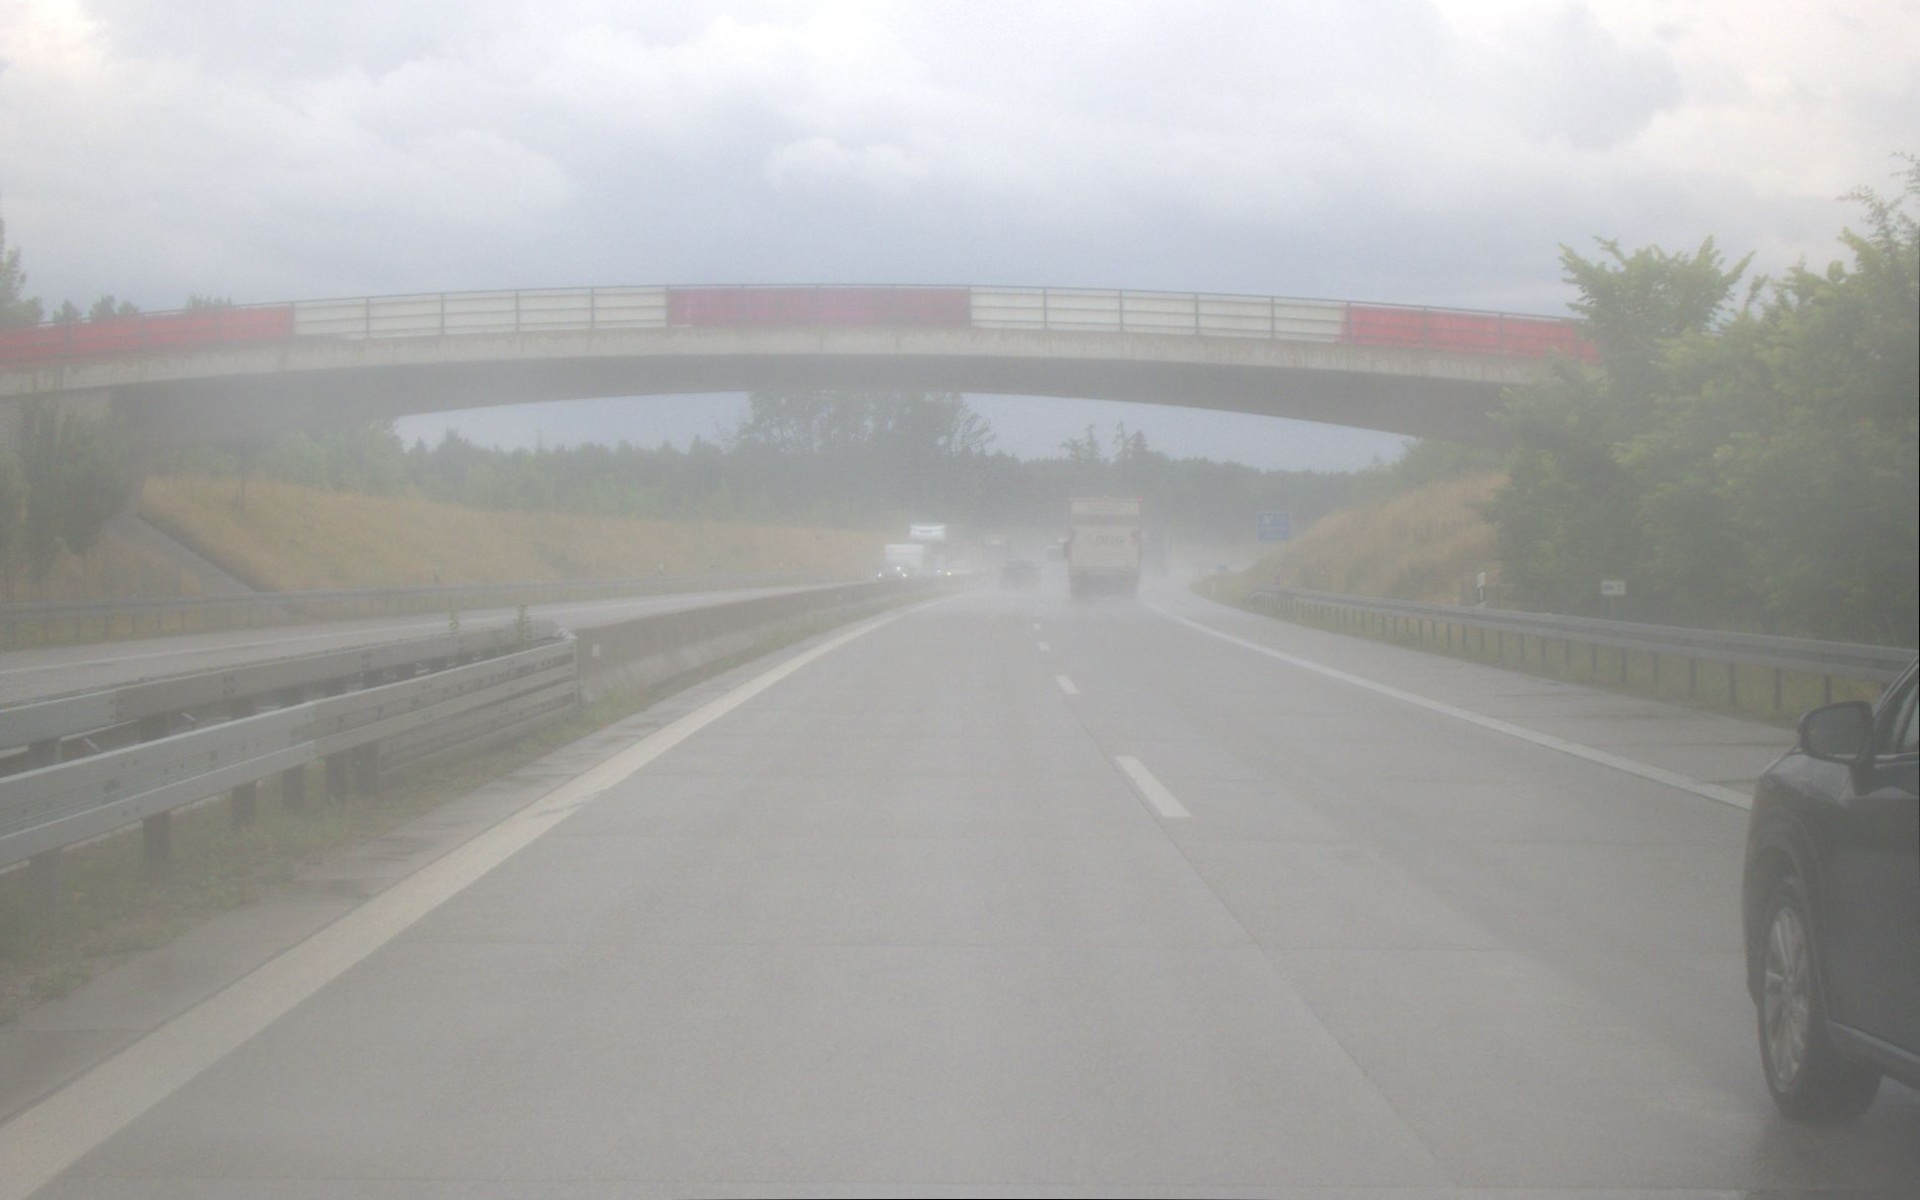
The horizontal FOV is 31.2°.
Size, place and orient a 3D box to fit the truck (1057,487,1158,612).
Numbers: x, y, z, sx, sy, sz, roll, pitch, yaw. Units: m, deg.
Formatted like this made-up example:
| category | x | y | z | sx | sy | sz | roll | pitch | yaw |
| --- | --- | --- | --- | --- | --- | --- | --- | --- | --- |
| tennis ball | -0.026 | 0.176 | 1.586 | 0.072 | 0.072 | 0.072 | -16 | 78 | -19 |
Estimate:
| category | x | y | z | sx | sy | sz | roll | pitch | yaw |
| --- | --- | --- | --- | --- | --- | --- | --- | --- | --- |
| truck | 5.453 | -1.883 | 125.937 | 3.244 | 4.422 | 8.244 | 0 | 1 | 5 |

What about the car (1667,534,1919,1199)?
| category | x | y | z | sx | sy | sz | roll | pitch | yaw |
| --- | --- | --- | --- | --- | --- | --- | --- | --- | --- |
| car | 3.059 | 0.640 | 8.462 | 1.894 | 1.570 | 3.632 | 1 | 1 | 1 |
